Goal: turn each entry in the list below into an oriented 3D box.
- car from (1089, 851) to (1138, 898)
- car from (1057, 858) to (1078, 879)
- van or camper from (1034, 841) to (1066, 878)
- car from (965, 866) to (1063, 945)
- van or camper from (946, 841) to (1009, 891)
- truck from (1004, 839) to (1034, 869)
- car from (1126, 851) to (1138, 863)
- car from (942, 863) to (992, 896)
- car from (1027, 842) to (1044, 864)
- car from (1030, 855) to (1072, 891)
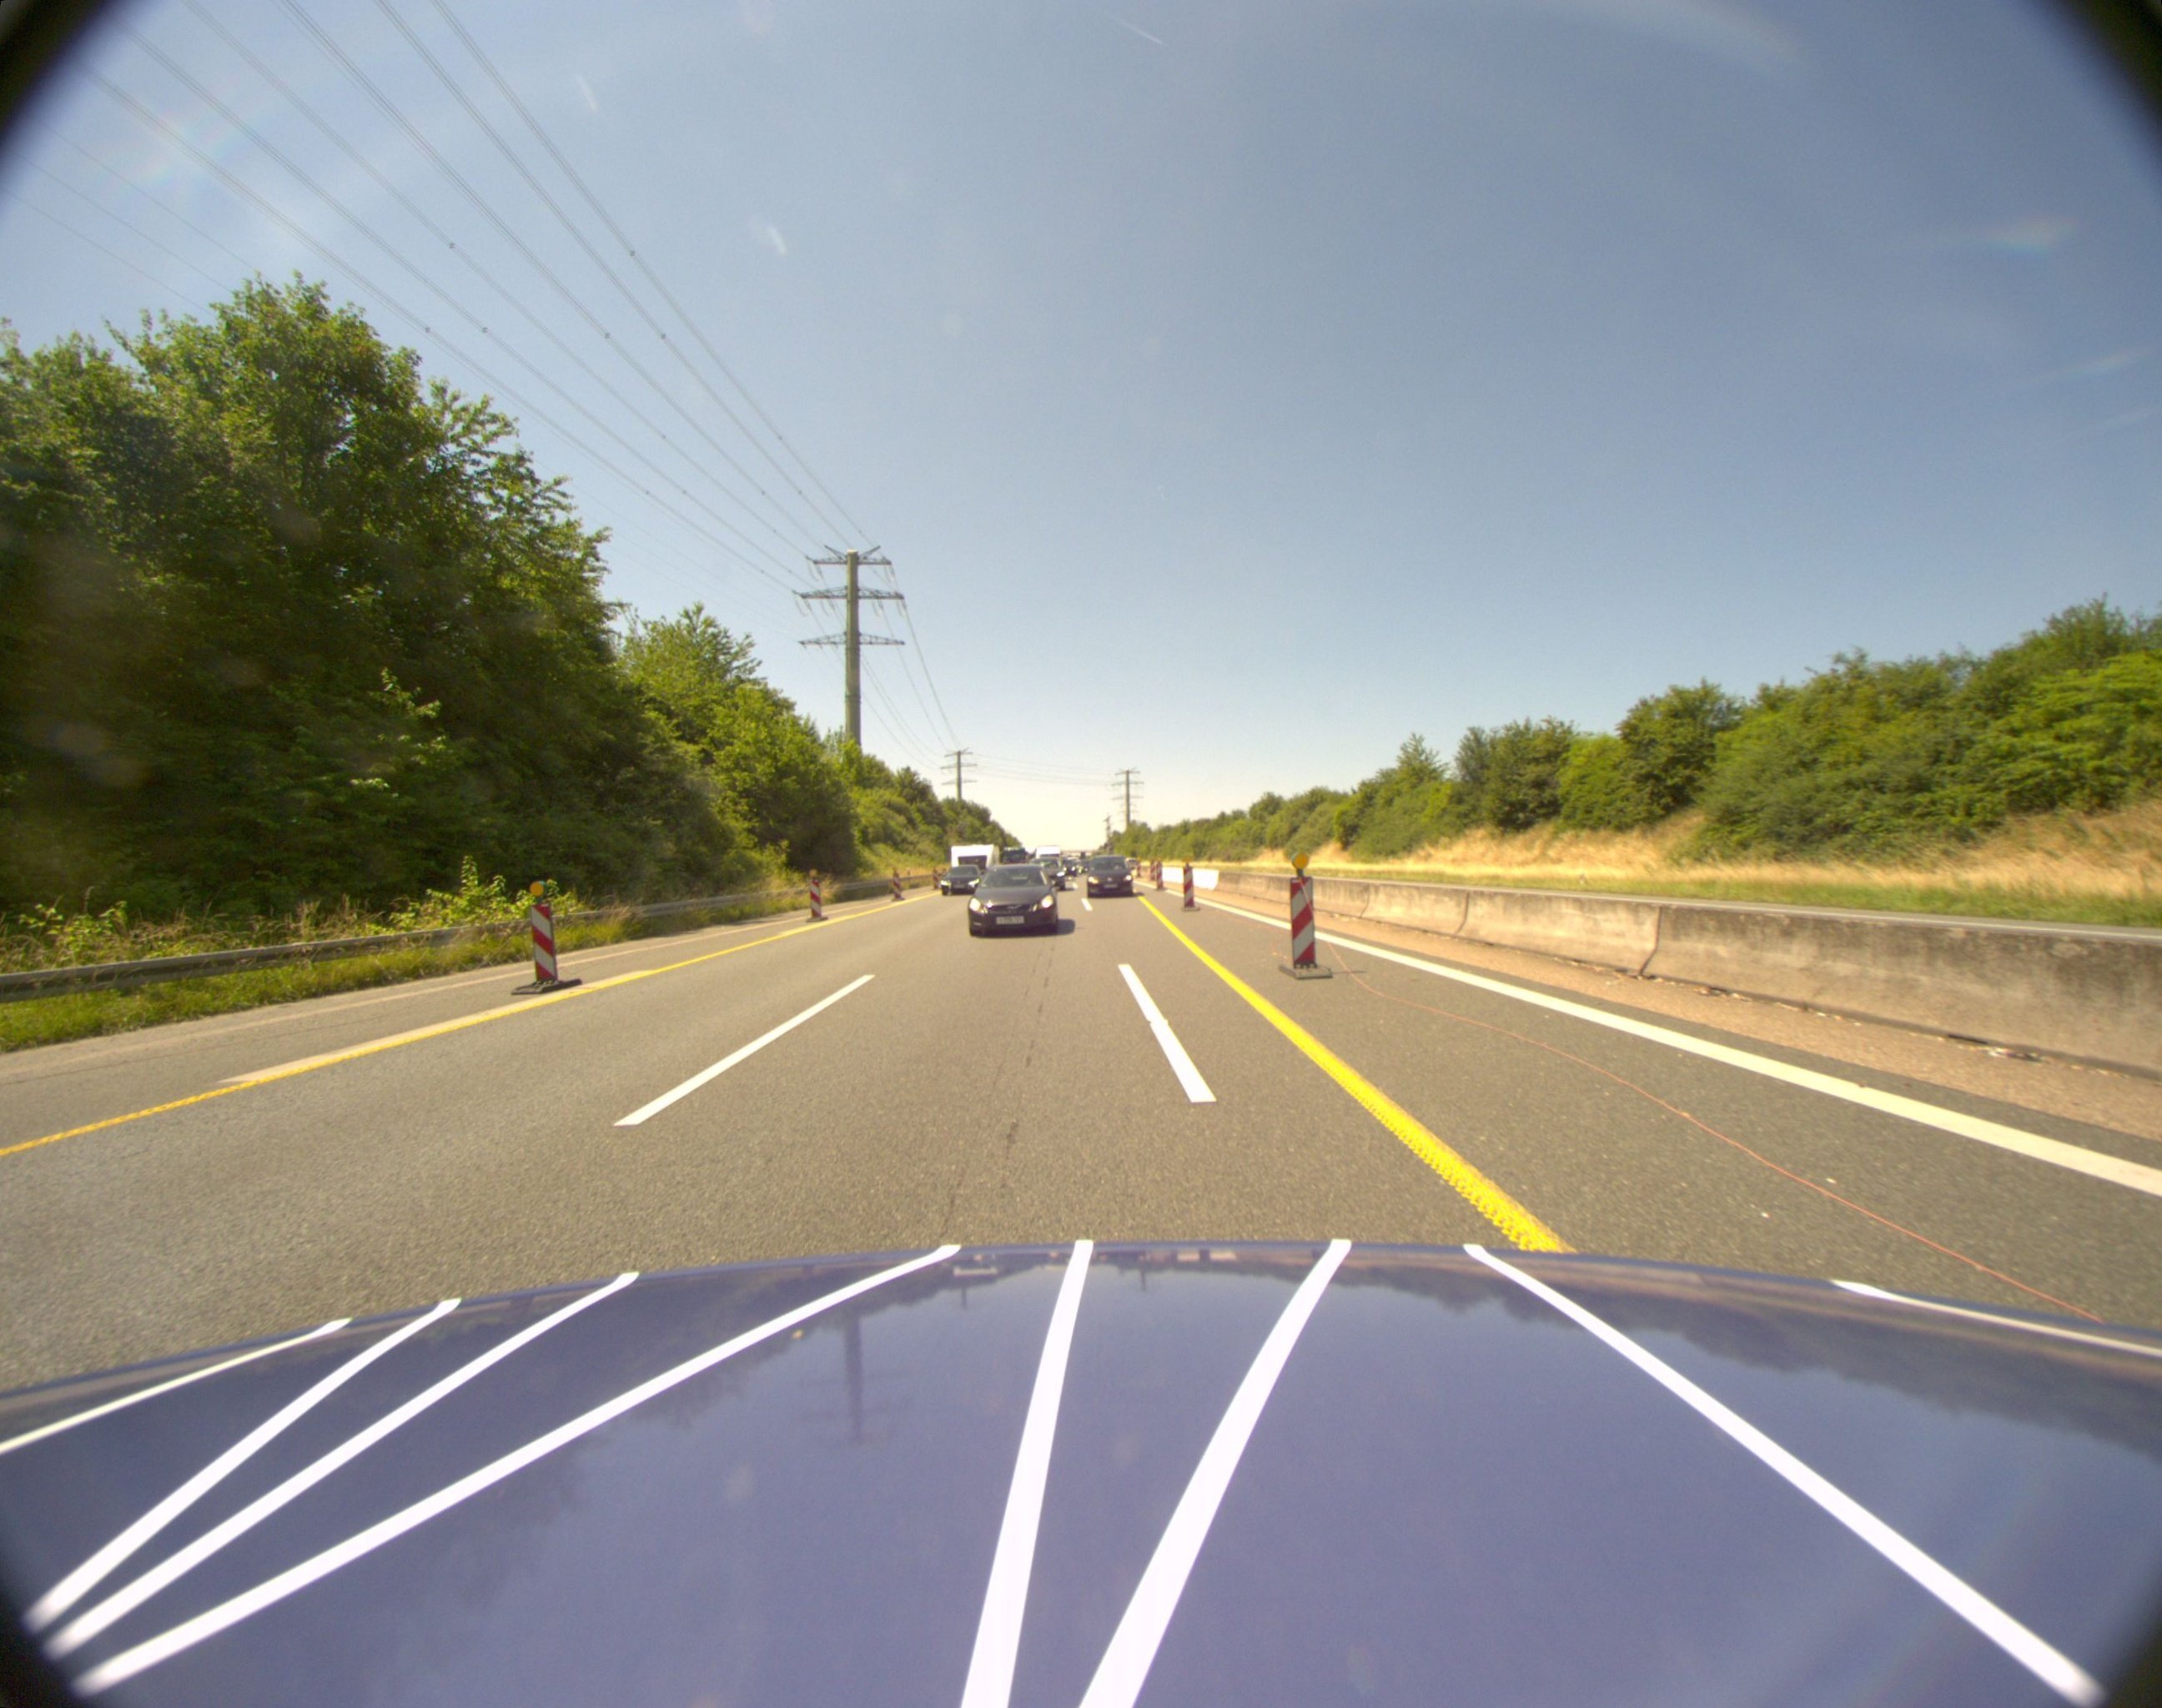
[{"bbox_3d":[1.239,0.751,29.807,1.675,1.619,4.691,-3,0,1],"label":"car"},{"bbox_3d":[-1.174,1.212,65.525,1.745,1.658,4.156,-2,0,-2],"label":"car"},{"bbox_3d":[-2.201,0.389,55.703,1.998,2.604,5.629,0,0,1],"label":"van or camper"},{"bbox_3d":[-1.357,1.040,16.865,1.799,1.432,4.000,-2,0,0],"label":"car"},{"bbox_3d":[-5.792,0.616,43.840,2.432,2.549,8.416,-2,0,0],"label":"van or camper"},{"bbox_3d":[-7.035,0.040,87.557,2.431,3.122,7.648,-4,0,1],"label":"truck"},{"bbox_3d":[9.859,0.555,147.105,1.968,2.073,4.937,-1,1,-1],"label":"car"},{"bbox_3d":[-5.550,1.221,37.531,1.801,1.399,4.209,-2,0,0],"label":"car"},{"bbox_3d":[-8.362,-0.235,140.671,2.397,3.779,10.272,-3,0,0],"label":"car"},{"bbox_3d":[-1.437,0.907,37.854,1.744,1.658,4.157,-2,0,1],"label":"car"}]
